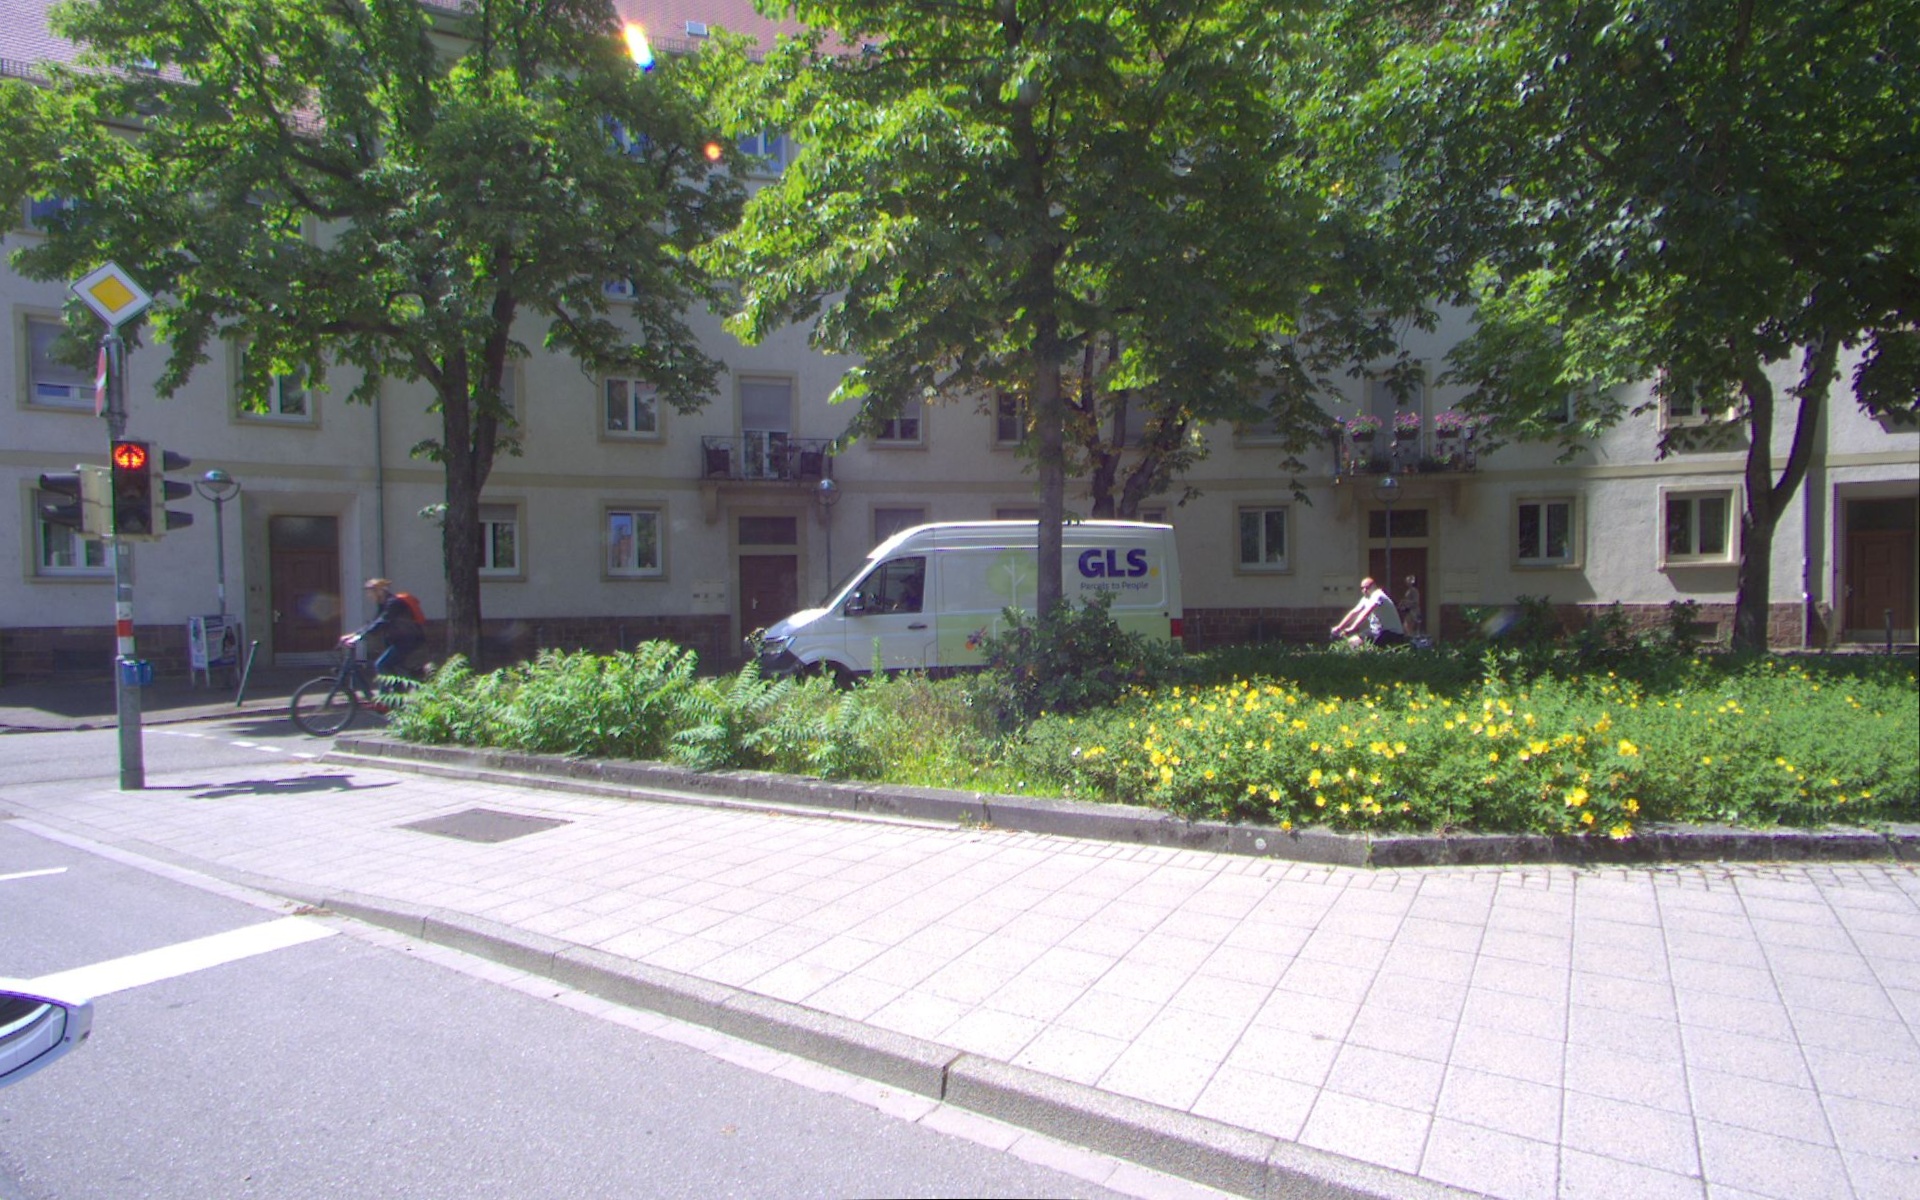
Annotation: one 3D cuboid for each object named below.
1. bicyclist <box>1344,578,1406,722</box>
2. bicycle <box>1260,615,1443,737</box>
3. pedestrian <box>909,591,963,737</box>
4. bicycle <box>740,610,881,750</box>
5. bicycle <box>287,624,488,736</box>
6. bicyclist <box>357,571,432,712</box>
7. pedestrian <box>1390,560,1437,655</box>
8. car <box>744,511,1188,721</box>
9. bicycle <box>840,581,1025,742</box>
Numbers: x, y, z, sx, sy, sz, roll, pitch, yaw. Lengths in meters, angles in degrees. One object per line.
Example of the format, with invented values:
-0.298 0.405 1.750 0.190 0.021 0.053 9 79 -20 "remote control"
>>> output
5.366 0.635 12.956 0.524 1.823 0.604 -1 0 -2 "bicyclist"
5.021 0.959 12.899 2.126 1.505 0.593 -1 0 -2 "bicycle"
-0.218 0.571 9.141 0.345 1.301 0.365 -1 0 32 "pedestrian"
-1.308 0.678 8.653 1.269 1.141 0.332 -2 -1 32 "bicycle"
-6.975 0.930 12.282 2.064 1.252 0.576 0 -1 -41 "bicycle"
-6.945 0.498 12.297 0.688 1.667 0.575 0 0 -41 "bicyclist"
9.928 0.164 21.932 0.758 2.040 0.807 -1 0 11 "pedestrian"
0.042 0.184 13.873 5.738 2.624 1.999 0 1 -7 "car"
-0.282 0.541 9.176 1.809 1.377 0.351 -1 0 33 "bicycle"
